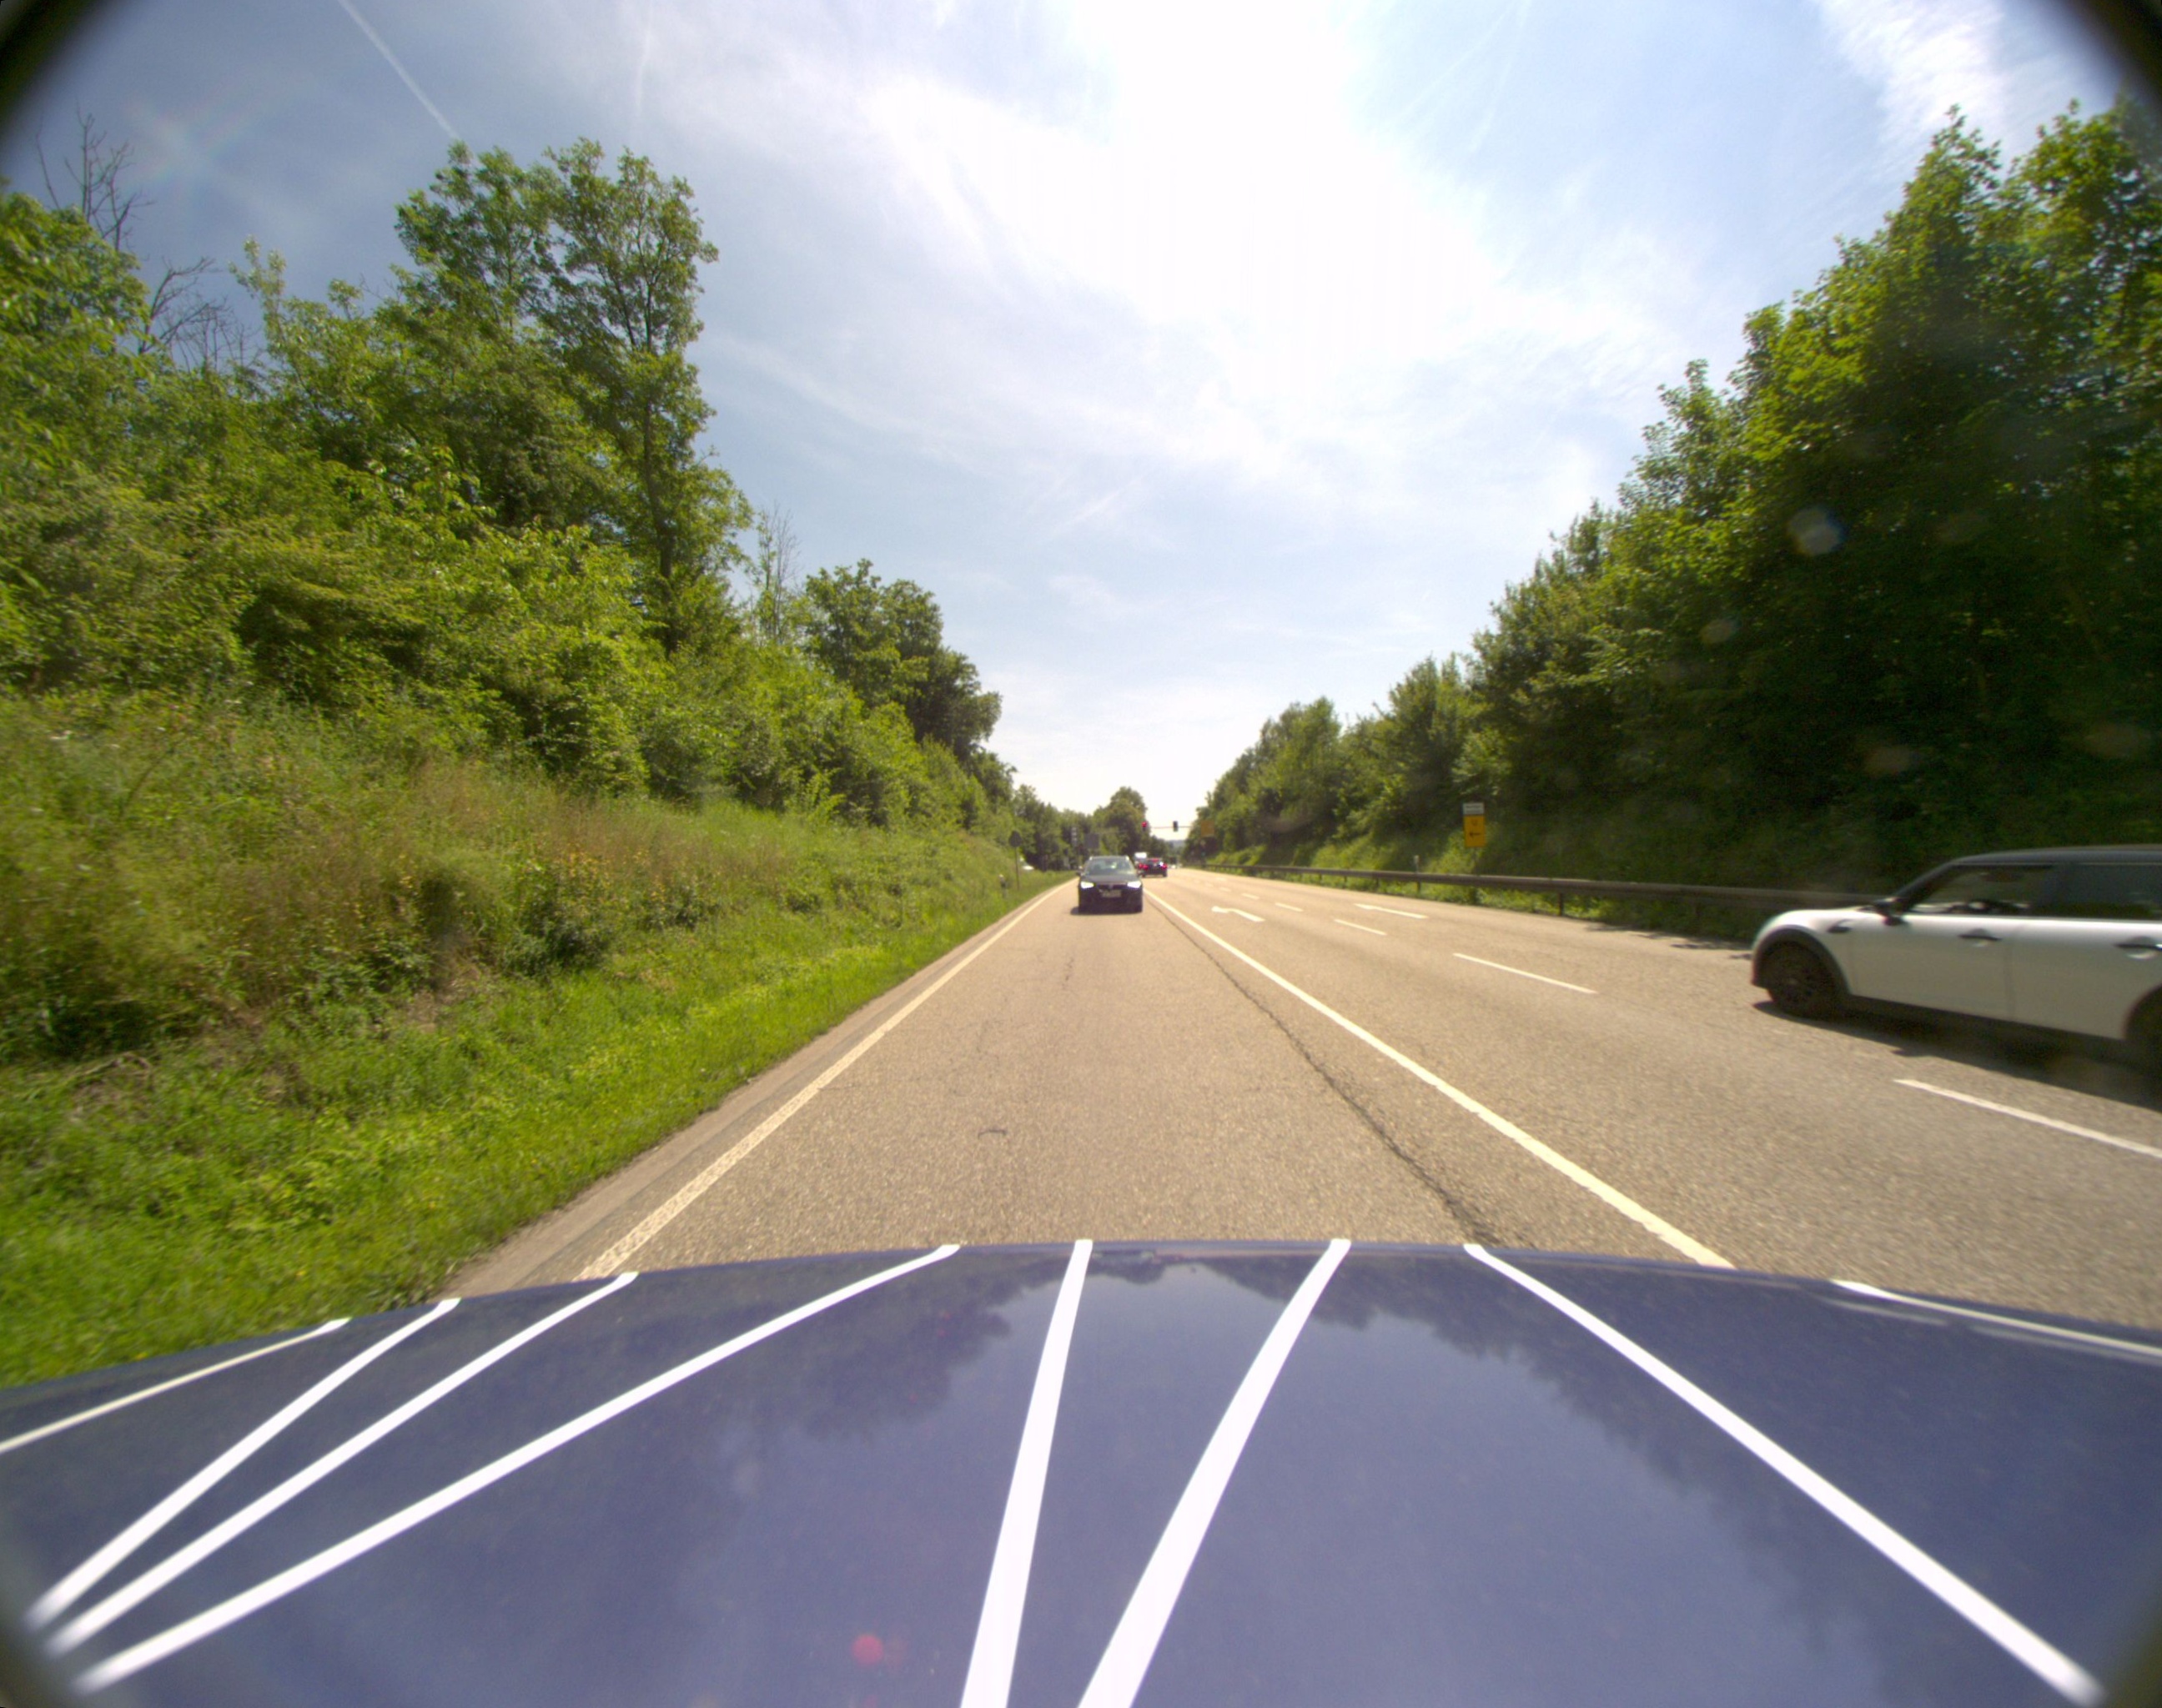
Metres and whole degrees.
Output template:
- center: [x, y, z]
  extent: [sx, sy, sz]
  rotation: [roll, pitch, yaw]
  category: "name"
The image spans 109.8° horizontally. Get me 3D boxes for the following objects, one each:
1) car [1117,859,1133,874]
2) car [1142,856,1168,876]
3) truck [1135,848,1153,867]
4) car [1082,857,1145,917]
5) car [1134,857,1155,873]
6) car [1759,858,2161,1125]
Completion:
- center: [6.368, 1.776, 109.060]
  extent: [1.998, 2.001, 4.002]
  rotation: [-3, -1, 5]
  category: "car"
- center: [5.613, 0.876, 57.936]
  extent: [1.808, 1.444, 4.388]
  rotation: [-2, 0, 4]
  category: "car"
- center: [13.159, 0.714, 159.138]
  extent: [2.838, 3.794, 8.456]
  rotation: [-3, 1, 10]
  category: "truck"
- center: [0.946, 0.860, 21.635]
  extent: [1.626, 1.535, 4.001]
  rotation: [-1, 0, 3]
  category: "car"
- center: [6.220, 1.064, 75.043]
  extent: [1.786, 1.438, 4.641]
  rotation: [-2, -1, 2]
  category: "car"
- center: [6.855, 0.760, 4.785]
  extent: [1.810, 1.427, 3.872]
  rotation: [-1, 0, 2]
  category: "car"
